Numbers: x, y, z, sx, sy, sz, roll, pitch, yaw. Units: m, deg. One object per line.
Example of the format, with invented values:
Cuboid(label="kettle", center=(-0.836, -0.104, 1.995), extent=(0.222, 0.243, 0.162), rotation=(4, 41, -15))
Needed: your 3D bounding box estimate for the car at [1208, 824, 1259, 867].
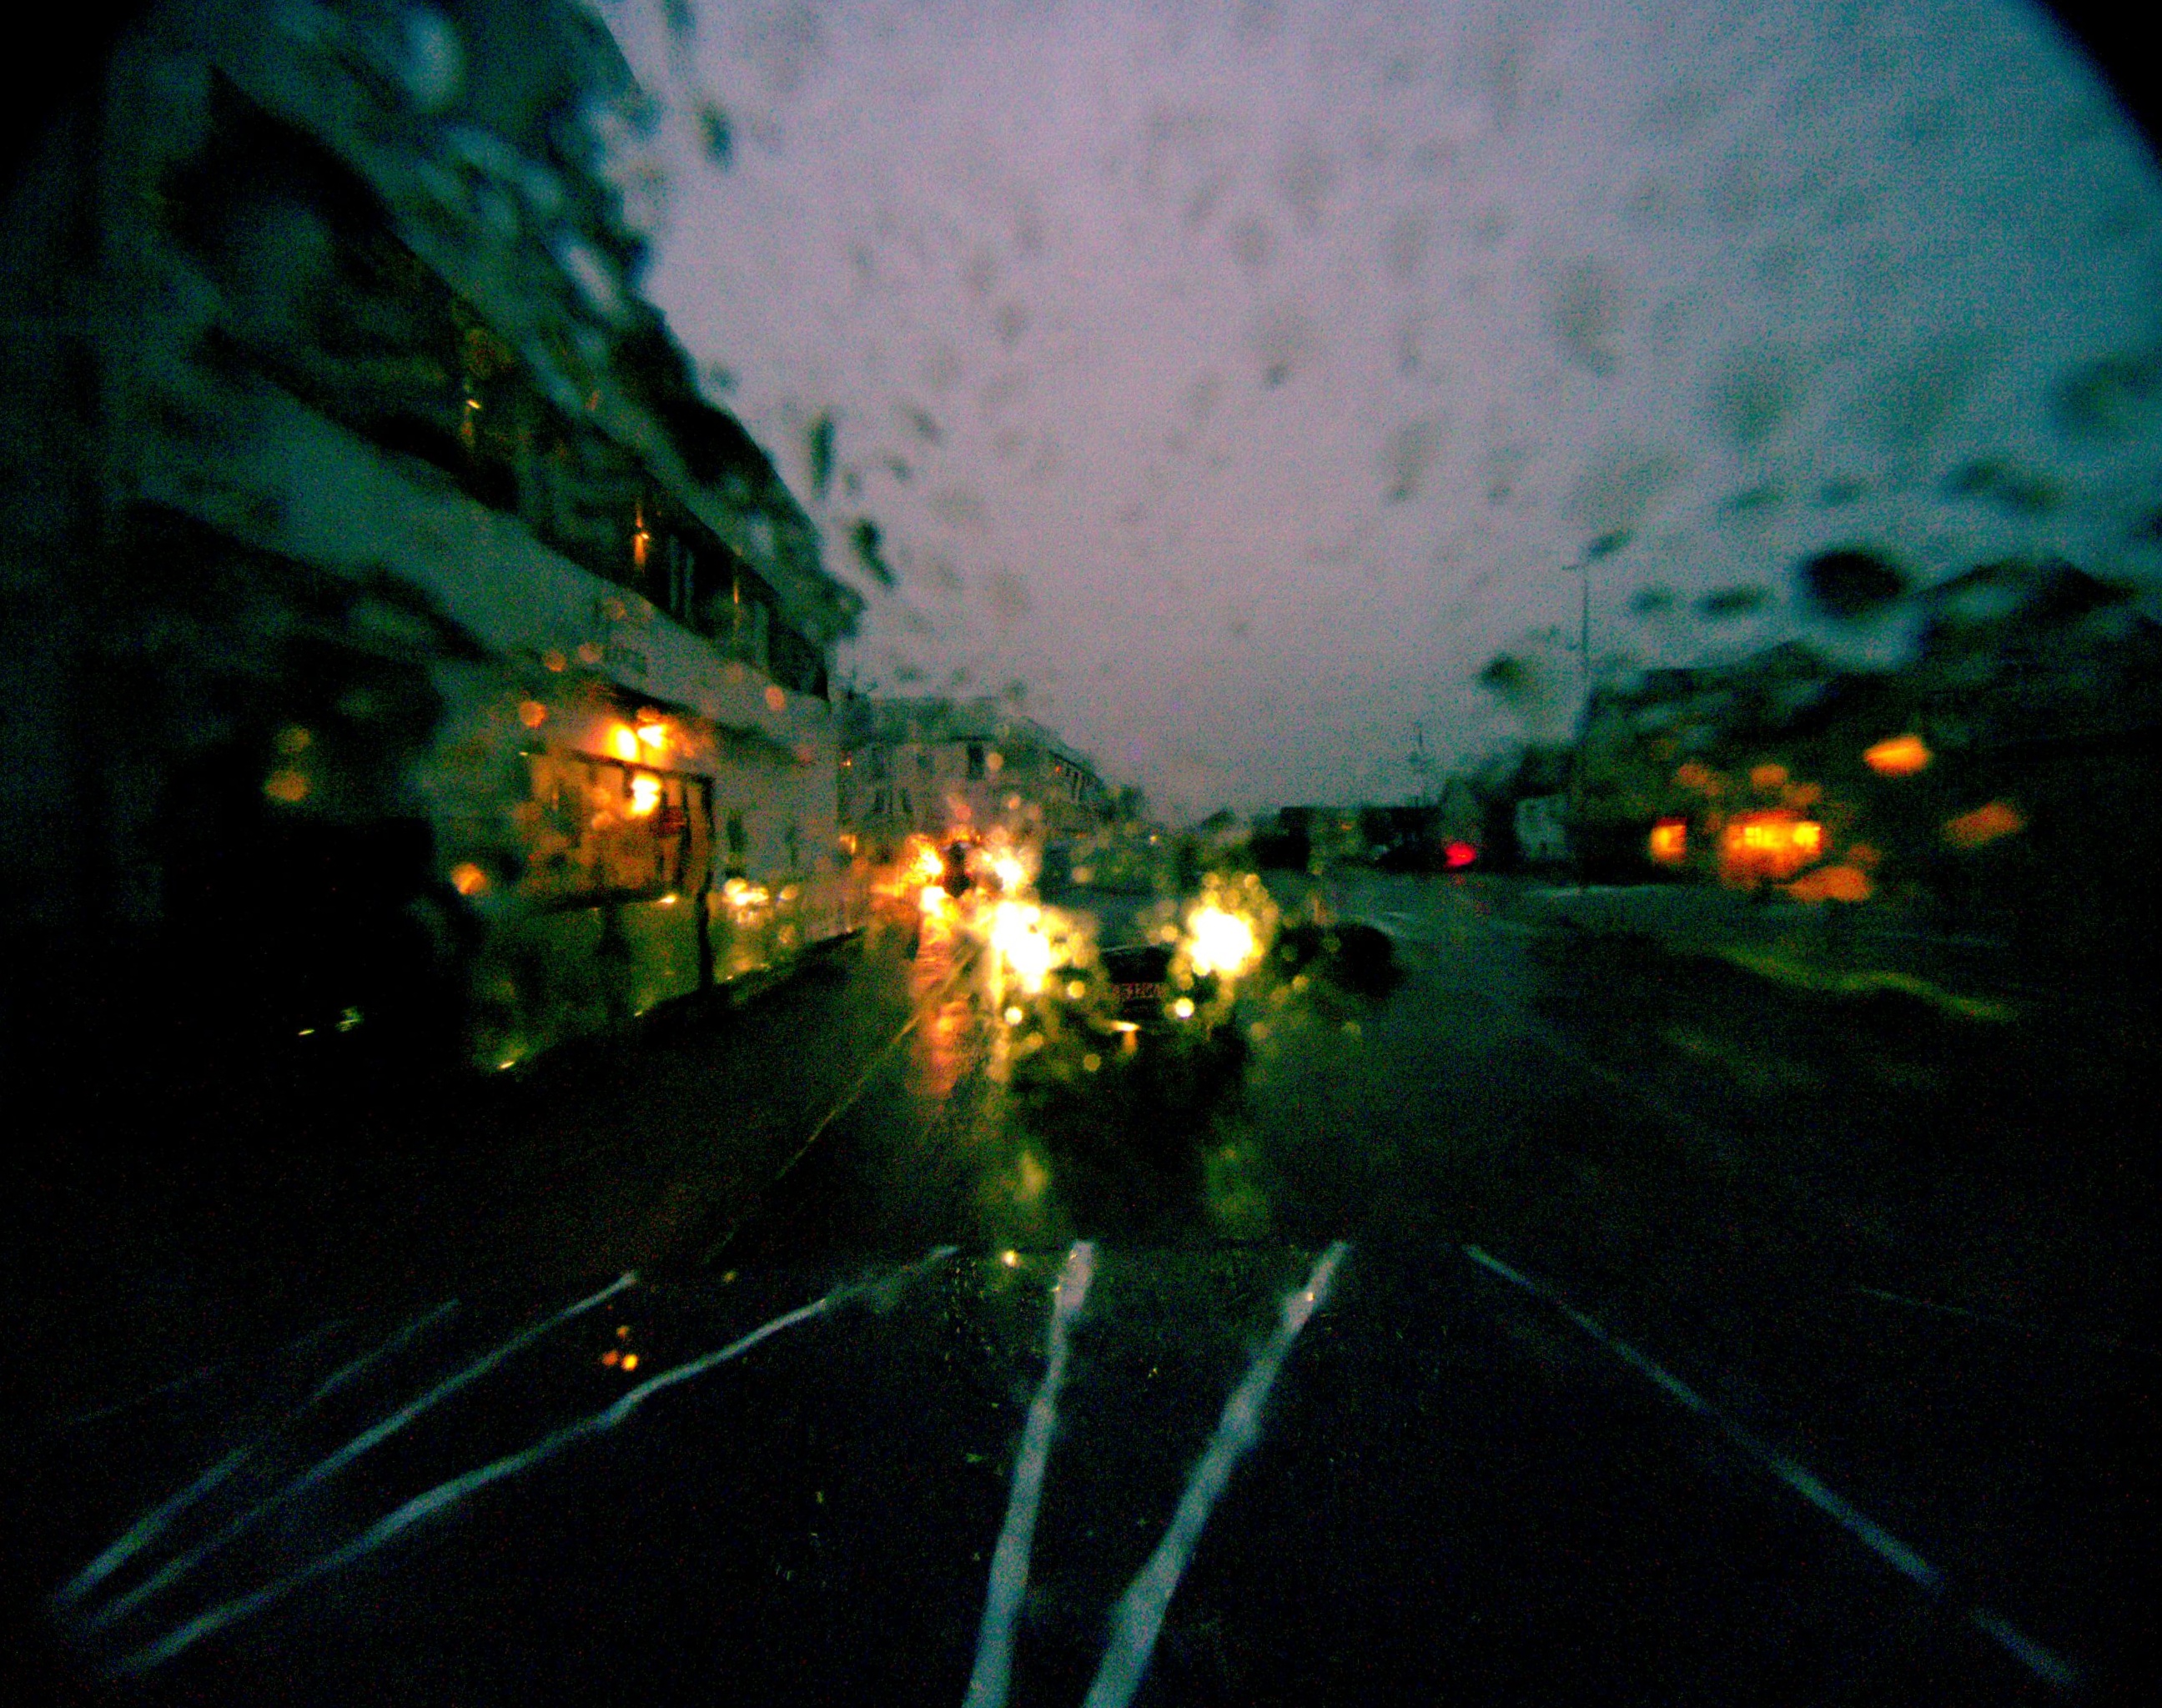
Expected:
Cuboid(label="car", center=(7.940, -0.501, 39.263), extent=(2.055, 1.976, 4.541), rotation=(-1, 3, 18))

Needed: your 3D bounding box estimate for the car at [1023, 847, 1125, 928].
Cuboid(label="car", center=(-0.276, 0.640, 17.182), extent=(1.764, 1.471, 4.015), rotation=(-2, 2, -8))

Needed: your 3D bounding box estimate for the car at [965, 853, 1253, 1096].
Cuboid(label="car", center=(0.157, 0.831, 7.306), extent=(1.958, 1.576, 4.108), rotation=(-1, 1, -1))

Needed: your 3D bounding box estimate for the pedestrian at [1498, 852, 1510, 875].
Cuboid(label="pedestrian", center=(31.079, 0.694, 55.838), extent=(0.582, 1.602, 0.500), rotation=(-2, 3, 5))

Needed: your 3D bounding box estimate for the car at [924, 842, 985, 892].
Cuboid(label="car", center=(-5.091, 0.475, 30.970), extent=(1.825, 1.736, 3.997), rotation=(-2, 3, -1))

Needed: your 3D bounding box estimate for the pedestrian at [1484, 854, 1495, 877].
Cuboid(label="pedestrian", center=(29.835, 0.824, 55.470), extent=(0.582, 1.602, 0.500), rotation=(-2, 3, 5))

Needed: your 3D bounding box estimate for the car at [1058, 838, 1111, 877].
Cuboid(label="car", center=(0.152, 0.122, 33.875), extent=(2.172, 1.469, 3.998), rotation=(-2, 3, 0))

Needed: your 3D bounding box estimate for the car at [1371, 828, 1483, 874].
Cuboid(label="car", center=(16.415, -0.183, 36.232), extent=(2.003, 2.003, 4.452), rotation=(-4, 3, -36))

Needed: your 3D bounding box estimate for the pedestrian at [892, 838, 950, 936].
Cuboid(label="pedestrian", center=(-3.168, 0.629, 15.035), extent=(0.789, 1.856, 0.711), rotation=(1, 4, 44))

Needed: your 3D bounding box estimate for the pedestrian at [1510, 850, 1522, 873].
Cuboid(label="pedestrian", center=(30.592, 0.510, 53.486), extent=(0.582, 1.602, 0.500), rotation=(-2, 3, 5))

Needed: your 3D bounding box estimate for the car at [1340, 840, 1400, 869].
Cuboid(label="car", center=(21.820, 0.016, 57.532), extent=(1.974, 1.984, 3.990), rotation=(-3, 3, -26))

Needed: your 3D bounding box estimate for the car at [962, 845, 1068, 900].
Cuboid(label="car", center=(-2.279, 0.522, 25.019), extent=(2.031, 1.471, 4.547), rotation=(-3, 3, -24))

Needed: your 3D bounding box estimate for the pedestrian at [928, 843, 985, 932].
Cuboid(label="pedestrian", center=(-2.577, 0.677, 15.763), extent=(0.789, 1.752, 0.769), rotation=(1, 4, 44))

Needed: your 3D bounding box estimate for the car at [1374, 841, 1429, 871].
Cuboid(label="car", center=(24.442, 0.115, 58.106), extent=(1.926, 2.003, 3.966), rotation=(-3, 3, -13))
